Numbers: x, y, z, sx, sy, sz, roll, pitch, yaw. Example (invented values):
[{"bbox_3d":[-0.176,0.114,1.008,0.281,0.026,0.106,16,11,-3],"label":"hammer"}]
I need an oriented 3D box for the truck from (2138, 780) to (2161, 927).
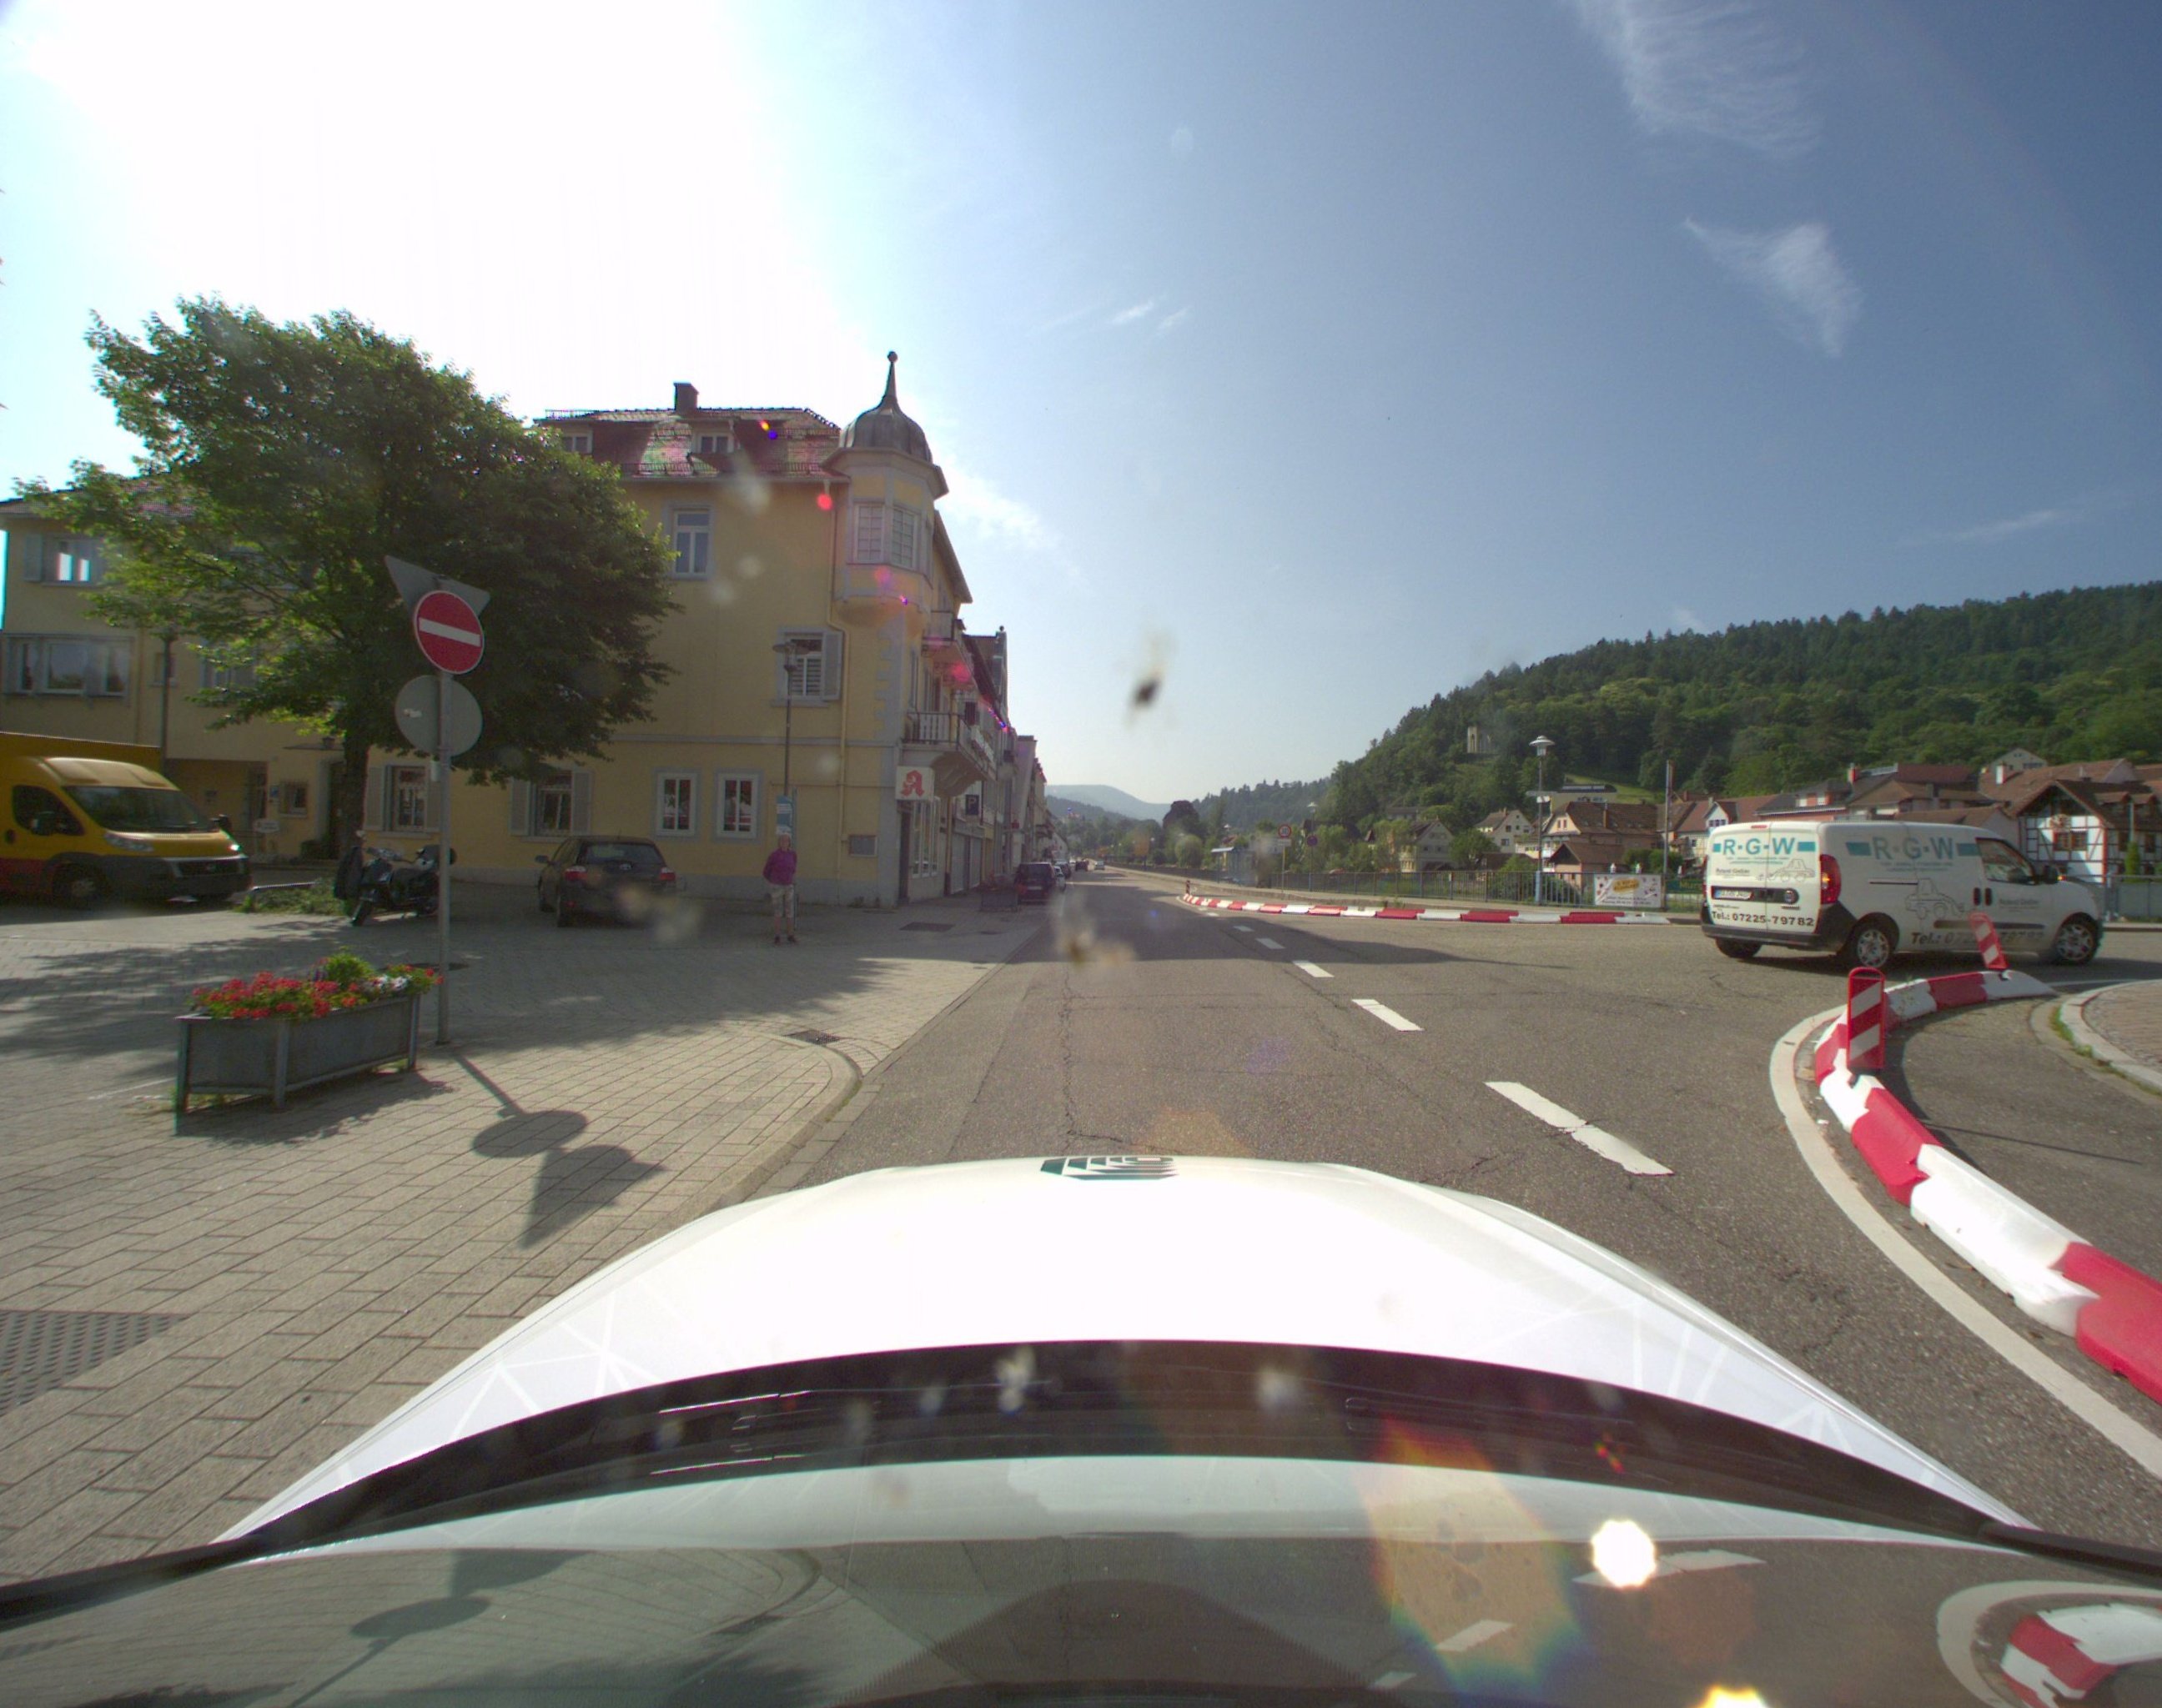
[{"bbox_3d":[23.327,0.038,14.183,7.085,2.699,2.112,1,-1,0],"label":"truck"}]

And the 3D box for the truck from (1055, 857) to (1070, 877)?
[{"bbox_3d":[-2.335,1.675,102.609,1.742,2.468,4.658,0,-1,-1],"label":"truck"}]

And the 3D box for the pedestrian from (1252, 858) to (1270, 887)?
[{"bbox_3d":[10.761,1.083,48.710,0.863,1.706,0.777,1,-1,1],"label":"pedestrian"}]

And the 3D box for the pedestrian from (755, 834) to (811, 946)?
[{"bbox_3d":[-4.732,0.548,12.918,0.682,1.714,0.611,1,0,-32],"label":"pedestrian"}]

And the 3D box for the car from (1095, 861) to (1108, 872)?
[{"bbox_3d":[3.292,2.037,133.678,1.987,1.662,3.999,2,0,0],"label":"car"}]

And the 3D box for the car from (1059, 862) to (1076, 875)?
[{"bbox_3d":[-1.327,1.427,79.877,1.559,1.220,3.274,0,-1,-2],"label":"car"}]

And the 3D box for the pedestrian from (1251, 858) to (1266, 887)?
[{"bbox_3d":[10.748,1.129,49.356,0.786,1.706,0.492,1,-1,1],"label":"pedestrian"}]

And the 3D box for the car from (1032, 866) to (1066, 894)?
[{"bbox_3d":[-1.712,1.378,44.311,1.742,1.448,3.792,0,-1,-2],"label":"car"}]

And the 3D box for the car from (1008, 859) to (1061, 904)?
[{"bbox_3d":[-1.665,0.985,30.400,1.842,1.568,3.565,0,-1,-2],"label":"car"}]

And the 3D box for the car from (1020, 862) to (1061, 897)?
[{"bbox_3d":[-1.755,1.099,36.195,1.742,1.448,3.274,0,-1,-2],"label":"car"}]

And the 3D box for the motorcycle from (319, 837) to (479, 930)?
[{"bbox_3d":[-11.041,0.430,13.315,0.883,1.360,2.087,1,2,-2],"label":"motorcycle"}]

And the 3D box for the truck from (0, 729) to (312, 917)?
[{"bbox_3d":[-18.892,-0.610,13.697,8.806,2.758,3.010,2,0,-1],"label":"truck"}]

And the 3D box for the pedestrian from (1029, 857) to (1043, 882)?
[{"bbox_3d":[-3.042,1.020,54.601,0.682,1.696,0.663,0,-1,27],"label":"pedestrian"}]

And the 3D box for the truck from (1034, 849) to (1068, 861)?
[{"bbox_3d":[-8.336,0.184,227.336,9.224,3.264,3.054,1,-1,-27],"label":"truck"}]

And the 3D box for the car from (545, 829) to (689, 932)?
[{"bbox_3d":[-8.513,0.389,14.778,1.931,1.543,3.918,2,1,-34],"label":"car"}]

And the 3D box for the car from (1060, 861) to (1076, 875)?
[{"bbox_3d":[-1.387,1.507,86.043,1.742,1.448,3.274,0,-1,-2],"label":"car"}]

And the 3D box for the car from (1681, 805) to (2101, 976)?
[{"bbox_3d":[10.469,0.376,10.641,4.303,1.906,1.843,-1,1,-12],"label":"car"}]

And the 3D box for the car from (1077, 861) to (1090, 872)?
[{"bbox_3d":[0.370,1.907,126.250,1.987,1.662,3.999,2,0,0],"label":"car"}]
